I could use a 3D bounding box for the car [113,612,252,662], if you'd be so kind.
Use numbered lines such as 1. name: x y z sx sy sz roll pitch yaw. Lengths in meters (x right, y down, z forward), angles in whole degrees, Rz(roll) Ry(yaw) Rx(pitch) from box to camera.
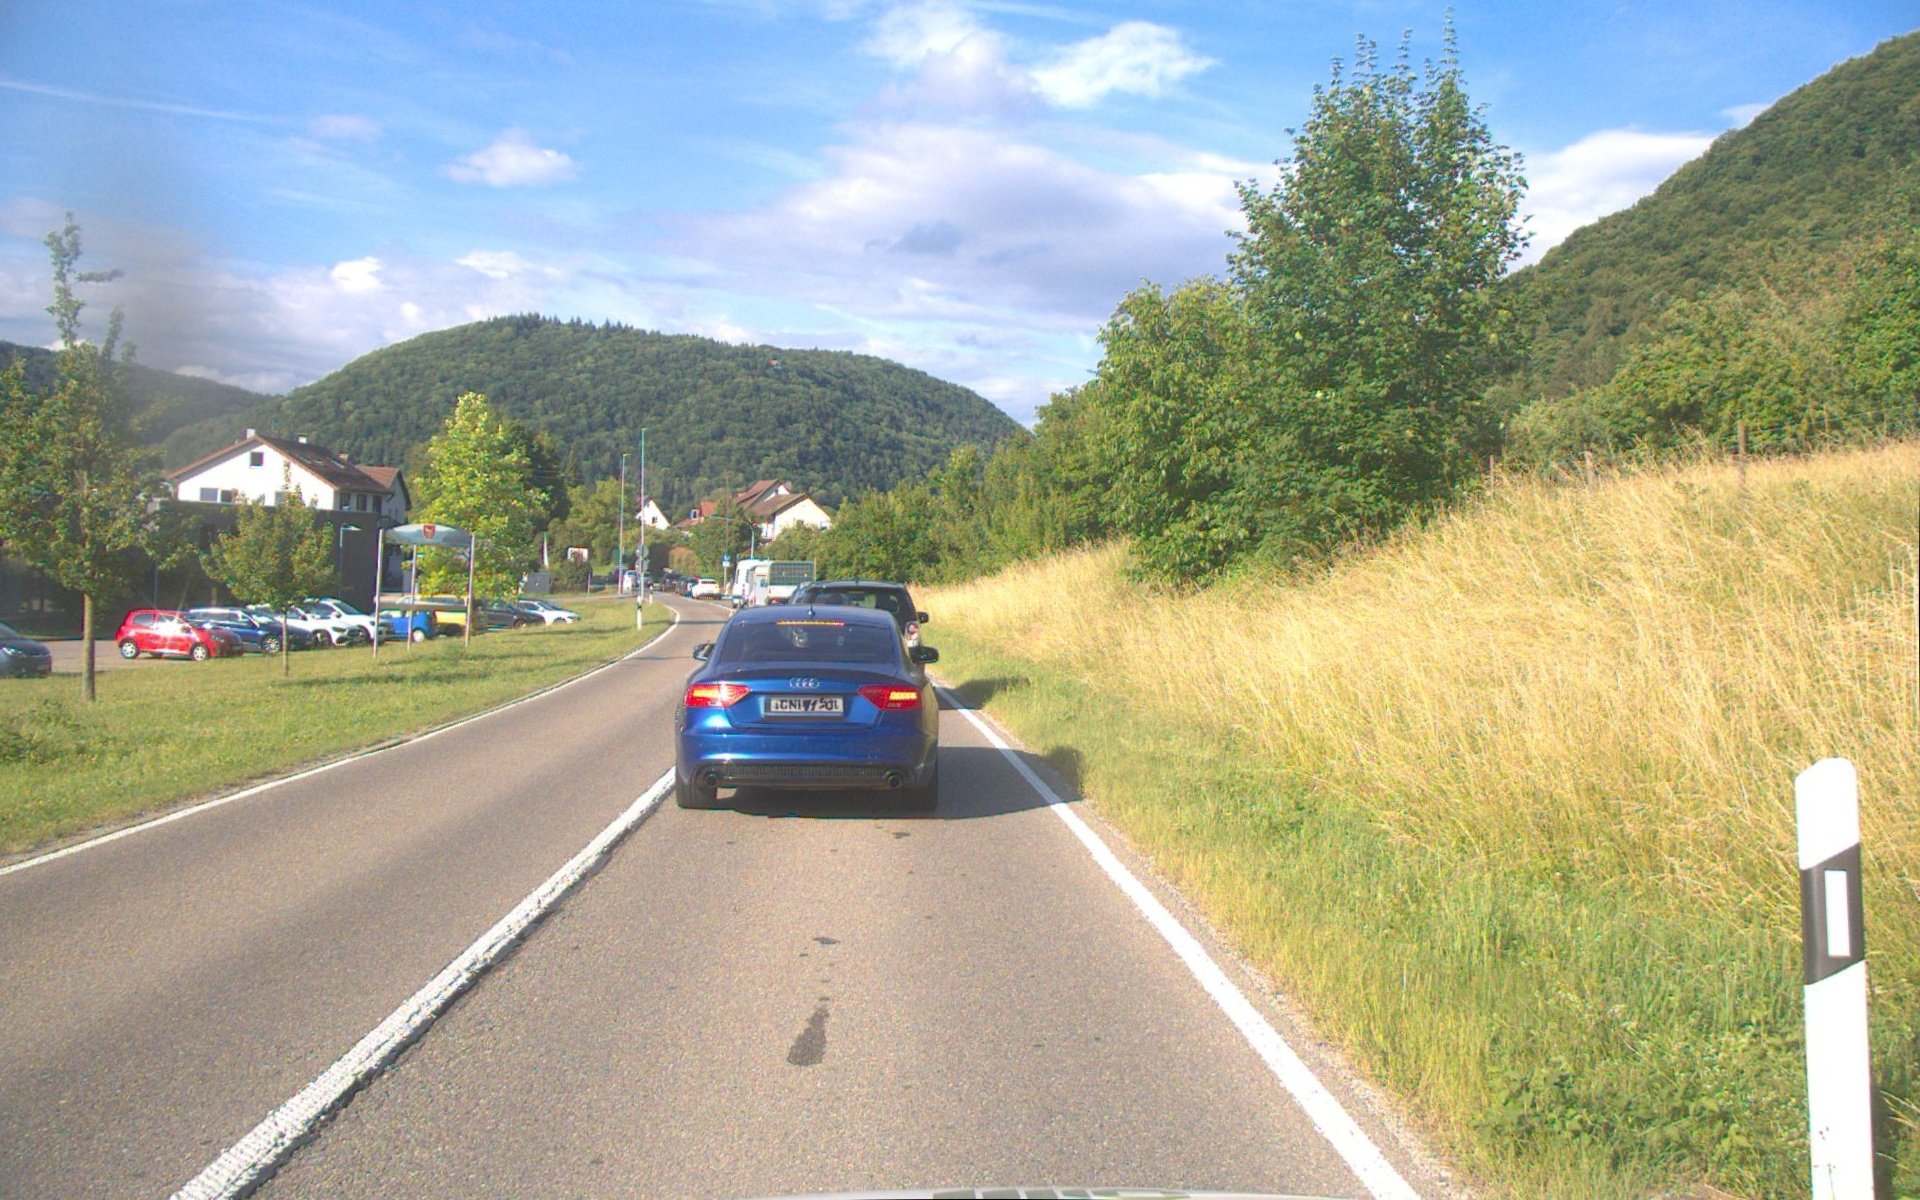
1. car: -24.115 1.128 51.371 3.548 1.469 1.649 -1 0 5

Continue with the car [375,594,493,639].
1. car: -22.750 0.706 71.601 4.457 1.846 1.842 -1 0 5

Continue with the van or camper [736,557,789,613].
1. van or camper: -10.150 -0.747 84.568 2.240 2.761 5.750 0 0 -12

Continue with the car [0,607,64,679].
1. car: -24.697 1.058 41.276 3.737 1.752 1.733 0 0 4

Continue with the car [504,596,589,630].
1. car: -21.475 0.652 85.960 3.950 1.689 1.657 -1 0 5

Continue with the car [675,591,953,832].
1. car: -1.041 0.693 12.105 1.708 1.476 3.514 1 0 -5

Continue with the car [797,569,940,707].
1. car: -1.289 0.457 22.001 1.614 1.653 3.511 2 0 -7

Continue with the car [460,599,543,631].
1. car: -22.565 0.733 81.480 3.634 1.464 1.510 -1 0 5

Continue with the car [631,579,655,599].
1. car: -30.867 -1.077 160.751 1.653 1.958 3.975 0 0 -21

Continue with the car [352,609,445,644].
1. car: -23.397 1.094 68.967 3.302 1.397 1.659 -1 0 -3

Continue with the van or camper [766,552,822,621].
1. van or camper: -6.506 -0.508 64.473 2.013 2.549 5.802 0 0 -7

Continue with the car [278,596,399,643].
1. car: -23.664 0.723 63.011 3.991 1.702 1.598 0 2 5

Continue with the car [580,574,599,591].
1. car: -43.524 -2.071 194.321 1.652 1.958 3.977 -1 0 -20

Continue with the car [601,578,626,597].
1. car: -37.124 -1.297 176.975 1.928 1.958 3.973 0 0 -22

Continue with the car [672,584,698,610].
1. car: -21.019 -0.229 126.493 1.632 1.958 3.985 0 0 -14

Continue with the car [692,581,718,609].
1. car: -18.123 -0.337 117.394 1.631 1.958 3.987 0 0 -12

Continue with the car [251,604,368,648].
1. car: -23.440 0.930 59.639 3.588 1.520 1.598 0 1 5

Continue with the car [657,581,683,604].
1. car: -25.520 -0.675 145.513 1.651 1.958 3.979 0 0 -19

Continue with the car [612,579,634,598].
1. car: -34.470 -1.185 169.154 1.652 1.958 3.977 0 0 -20

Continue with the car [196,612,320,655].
1. car: -23.922 1.127 56.408 3.548 1.430 1.597 0 -1 5
